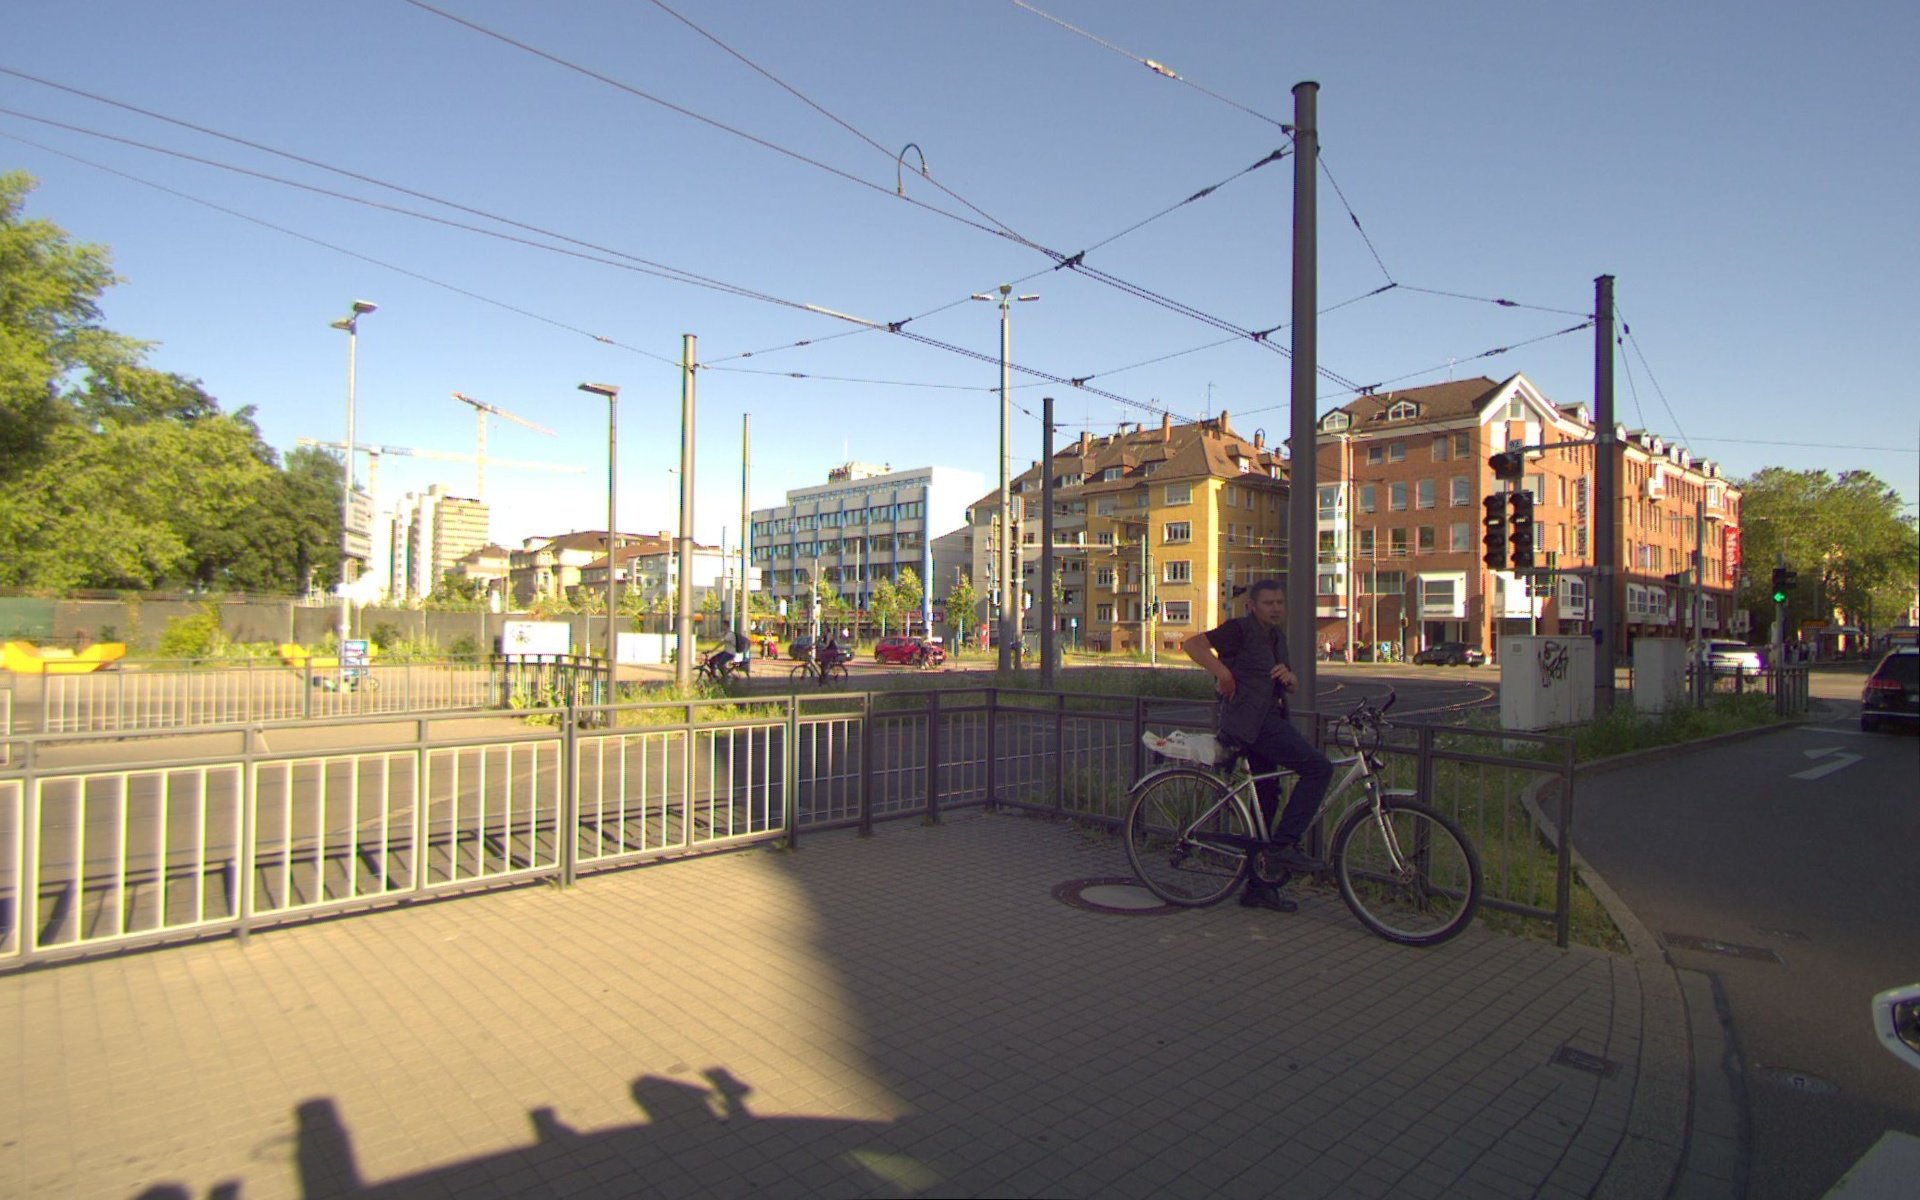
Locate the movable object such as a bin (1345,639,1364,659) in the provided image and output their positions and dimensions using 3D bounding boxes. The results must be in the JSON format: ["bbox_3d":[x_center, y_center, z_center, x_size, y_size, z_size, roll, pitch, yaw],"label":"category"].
[{"bbox_3d":[29.381,3.662,74.842,0.985,1.455,1.090,0,-2,43],"label":"movable object such as a bin"}]

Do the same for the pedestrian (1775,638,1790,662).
[{"bbox_3d":[61.857,3.763,75.521,0.626,1.744,0.584,1,-1,-11],"label":"pedestrian"}]

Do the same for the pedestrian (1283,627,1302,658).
[{"bbox_3d":[19.361,2.466,58.436,0.924,1.733,0.688,3,-2,-44],"label":"pedestrian"}]

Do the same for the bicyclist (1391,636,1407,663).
[{"bbox_3d":[29.547,3.330,67.621,0.608,1.795,0.822,2,-2,-36],"label":"bicyclist"}]

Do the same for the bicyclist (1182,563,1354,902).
[{"bbox_3d":[1.555,0.612,5.038,0.671,1.543,0.633,0,-2,32],"label":"bicyclist"}]

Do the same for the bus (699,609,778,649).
[{"bbox_3d":[-21.051,2.716,95.010,2.932,3.610,9.307,3,-2,-43],"label":"bus"}]

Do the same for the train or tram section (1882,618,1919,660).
[{"bbox_3d":[86.201,3.601,91.011,10.006,3.589,2.706,3,-2,-40],"label":"train or tram section"}]

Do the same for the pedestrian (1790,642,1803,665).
[{"bbox_3d":[64.067,4.072,76.944,0.579,1.744,0.632,2,-2,-31],"label":"pedestrian"}]

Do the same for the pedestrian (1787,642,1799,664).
[{"bbox_3d":[59.286,3.790,71.499,0.576,1.551,0.635,0,-2,35],"label":"pedestrian"}]

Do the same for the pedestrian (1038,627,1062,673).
[{"bbox_3d":[3.903,2.163,43.517,0.785,1.959,0.722,2,-1,-17],"label":"pedestrian"}]

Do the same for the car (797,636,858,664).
[{"bbox_3d":[-7.521,2.826,56.869,1.565,1.491,3.663,3,-2,-44],"label":"car"}]

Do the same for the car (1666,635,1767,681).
[{"bbox_3d":[29.255,2.192,38.977,1.808,1.656,3.489,1,-2,12],"label":"car"}]

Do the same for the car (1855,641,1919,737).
[{"bbox_3d":[16.741,1.490,17.460,1.745,1.463,4.504,1,-1,42],"label":"car"}]

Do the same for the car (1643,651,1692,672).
[{"bbox_3d":[51.962,4.495,73.735,3.940,1.472,1.805,2,-4,-37],"label":"car"}]

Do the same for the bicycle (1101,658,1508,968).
[{"bbox_3d":[1.662,0.934,4.958,1.794,1.228,0.640,0,-2,32],"label":"bicycle"}]

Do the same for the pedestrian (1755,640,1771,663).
[{"bbox_3d":[56.256,3.621,70.373,0.577,1.584,0.634,2,-2,-23],"label":"pedestrian"}]

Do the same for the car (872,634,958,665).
[{"bbox_3d":[-2.356,2.552,51.665,4.501,1.529,1.773,-3,-3,43],"label":"car"}]

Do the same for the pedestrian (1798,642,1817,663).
[{"bbox_3d":[66.047,4.095,78.248,1.093,1.646,0.843,0,-2,42],"label":"pedestrian"}]

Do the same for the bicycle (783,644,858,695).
[{"bbox_3d":[-3.753,1.868,27.204,2.011,1.308,0.568,3,-2,-41],"label":"bicycle"}]

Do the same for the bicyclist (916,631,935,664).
[{"bbox_3d":[-1.589,2.208,46.717,0.607,1.513,0.607,0,-2,39],"label":"bicyclist"}]

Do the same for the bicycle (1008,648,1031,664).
[{"bbox_3d":[3.009,2.818,50.955,1.157,0.774,0.319,0,-2,37],"label":"bicycle"}]

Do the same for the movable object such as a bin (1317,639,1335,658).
[{"bbox_3d":[27.889,3.695,76.558,0.985,1.455,1.090,0,-2,43],"label":"movable object such as a bin"}]

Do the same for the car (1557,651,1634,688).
[{"bbox_3d":[30.893,3.340,48.948,1.546,1.639,3.785,1,-2,4],"label":"car"}]

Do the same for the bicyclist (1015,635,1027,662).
[{"bbox_3d":[3.081,2.473,50.960,0.452,1.333,0.398,0,-2,36],"label":"bicyclist"}]

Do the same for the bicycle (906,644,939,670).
[{"bbox_3d":[-1.756,2.657,46.829,1.477,1.148,0.609,0,-2,39],"label":"bicycle"}]

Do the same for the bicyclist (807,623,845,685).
[{"bbox_3d":[-3.641,1.459,27.329,0.800,1.670,0.583,2,-2,-40],"label":"bicyclist"}]

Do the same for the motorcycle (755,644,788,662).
[{"bbox_3d":[-11.392,3.211,60.728,0.786,0.997,2.335,3,-2,-44],"label":"motorcycle"}]

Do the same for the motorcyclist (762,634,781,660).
[{"bbox_3d":[-11.401,2.856,60.744,0.777,1.544,0.911,3,-2,-44],"label":"motorcyclist"}]

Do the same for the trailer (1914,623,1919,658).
[{"bbox_3d":[101.110,4.263,103.887,9.285,3.593,2.690,3,-2,-41],"label":"trailer"}]

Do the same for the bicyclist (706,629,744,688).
[{"bbox_3d":[-6.090,1.502,26.000,0.724,1.473,0.658,2,-2,-38],"label":"bicyclist"}]

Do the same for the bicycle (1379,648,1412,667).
[{"bbox_3d":[29.390,3.886,67.817,0.623,1.239,2.020,2,-2,-36],"label":"bicycle"}]

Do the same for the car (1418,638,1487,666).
[{"bbox_3d":[29.136,3.050,59.486,1.705,1.571,3.458,2,-2,-20],"label":"car"}]

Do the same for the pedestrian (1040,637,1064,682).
[{"bbox_3d":[3.576,2.290,38.985,0.617,1.711,0.702,0,0,40],"label":"pedestrian"}]

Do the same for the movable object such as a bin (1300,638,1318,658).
[{"bbox_3d":[26.888,3.697,77.332,0.985,1.455,1.090,0,-2,43],"label":"movable object such as a bin"}]

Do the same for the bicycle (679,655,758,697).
[{"bbox_3d":[-6.212,1.945,25.928,1.867,1.026,0.645,3,-2,-36],"label":"bicycle"}]

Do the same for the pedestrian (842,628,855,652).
[{"bbox_3d":[-9.925,3.566,89.590,0.794,2.036,0.799,0,-2,37],"label":"pedestrian"}]
